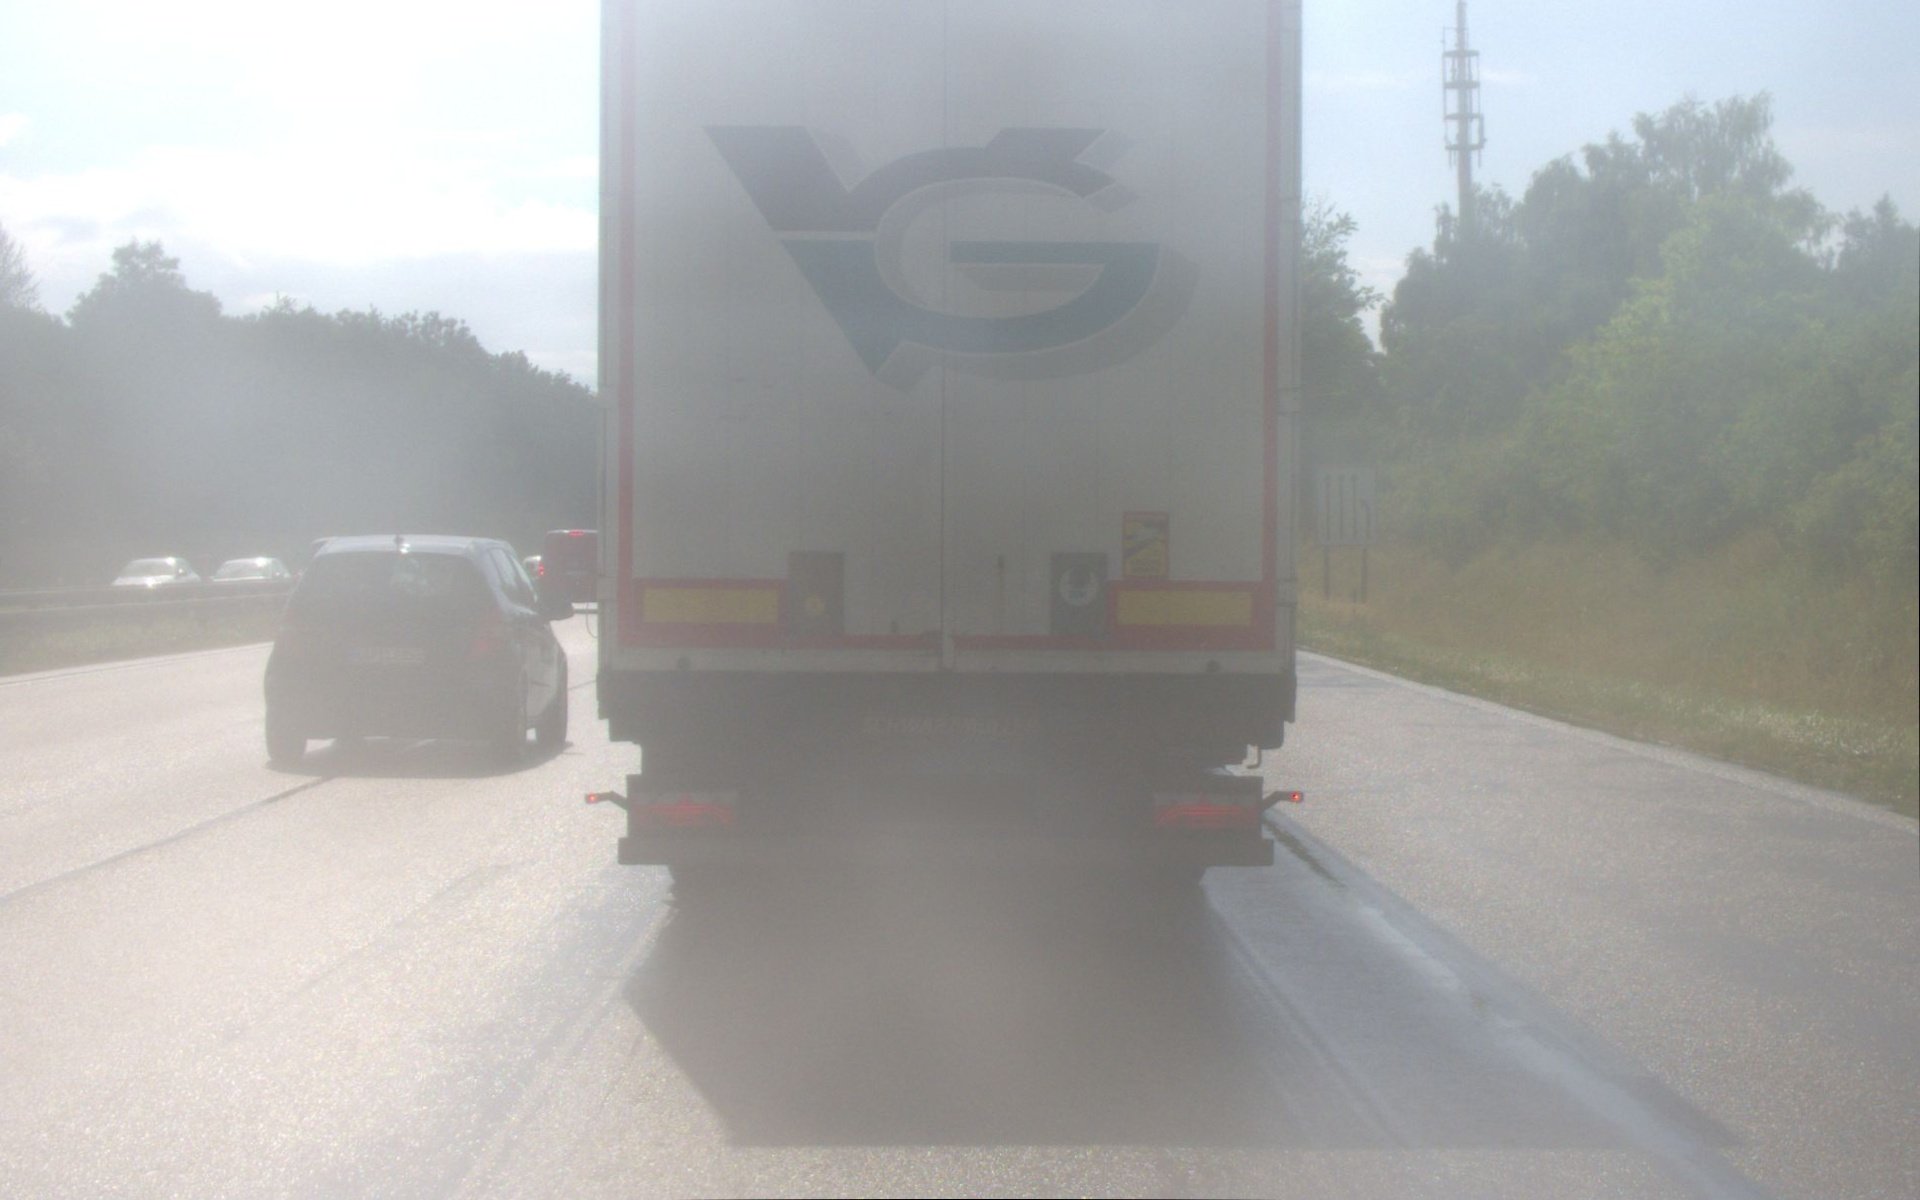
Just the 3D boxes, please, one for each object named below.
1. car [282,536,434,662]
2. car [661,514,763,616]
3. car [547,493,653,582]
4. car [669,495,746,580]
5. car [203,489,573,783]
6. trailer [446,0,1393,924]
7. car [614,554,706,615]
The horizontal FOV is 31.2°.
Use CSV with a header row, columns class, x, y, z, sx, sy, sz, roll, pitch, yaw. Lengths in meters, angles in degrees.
class,x,y,z,sx,sy,sz,roll,pitch,yaw
car,-9.067,-0.027,52.055,1.692,1.798,3.976,1,0,-2
car,-4.538,-0.644,63.303,1.692,1.798,3.976,1,0,-2
car,-8.625,-1.482,82.634,1.978,2.047,4.756,1,0,1
car,-8.009,-1.959,109.460,1.993,2.606,5.259,1,0,1
car,-4.114,0.225,25.534,2.274,1.948,4.822,1,0,-4
trailer,-0.254,-0.936,19.238,3.283,3.885,14.129,1,1,-1
car,-8.077,-0.429,92.888,1.993,1.559,4.756,1,0,1
